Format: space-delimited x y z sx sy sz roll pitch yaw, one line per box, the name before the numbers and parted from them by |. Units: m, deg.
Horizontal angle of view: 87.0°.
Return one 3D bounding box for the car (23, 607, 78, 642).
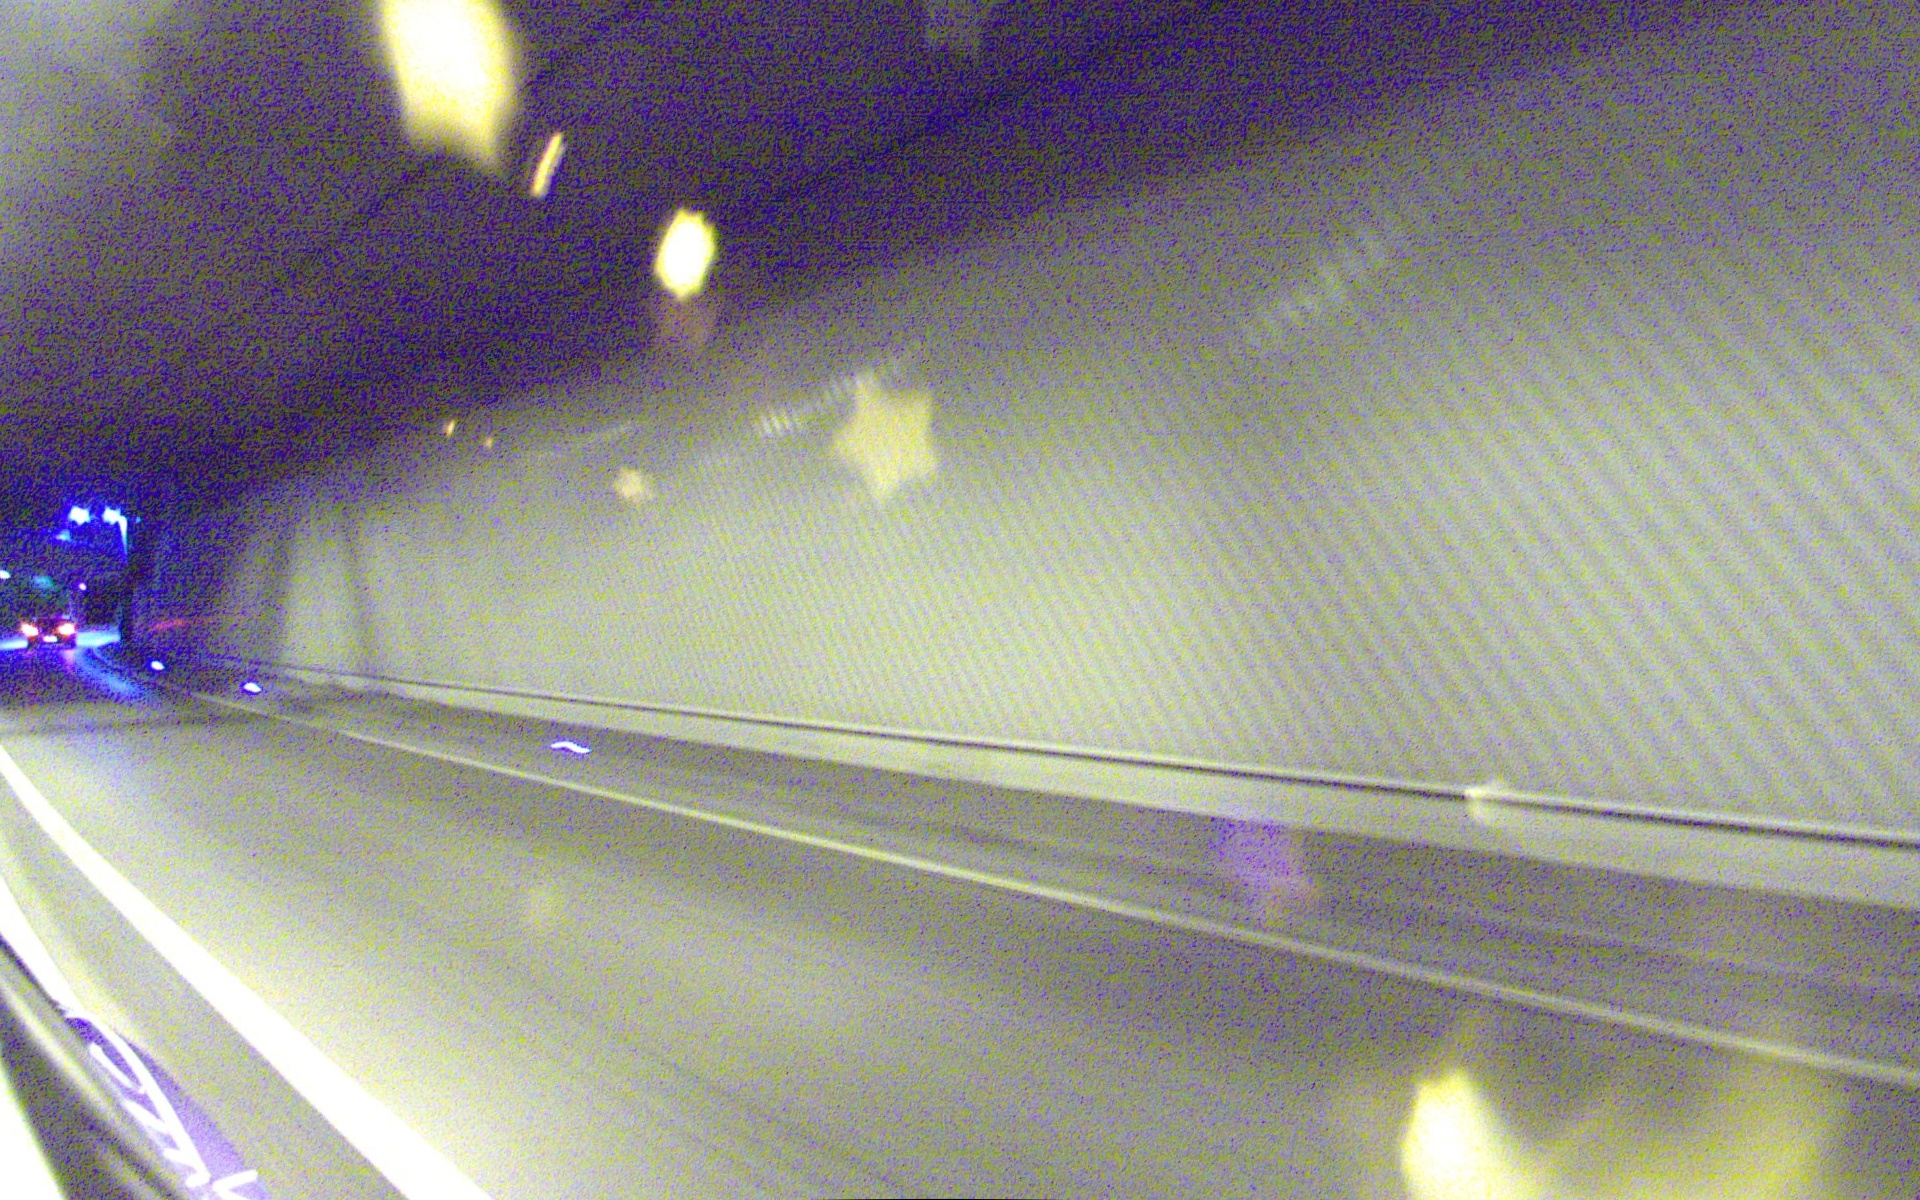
car | -41.177 1.083 45.872 1.695 1.453 4.400 -2 1 -40
